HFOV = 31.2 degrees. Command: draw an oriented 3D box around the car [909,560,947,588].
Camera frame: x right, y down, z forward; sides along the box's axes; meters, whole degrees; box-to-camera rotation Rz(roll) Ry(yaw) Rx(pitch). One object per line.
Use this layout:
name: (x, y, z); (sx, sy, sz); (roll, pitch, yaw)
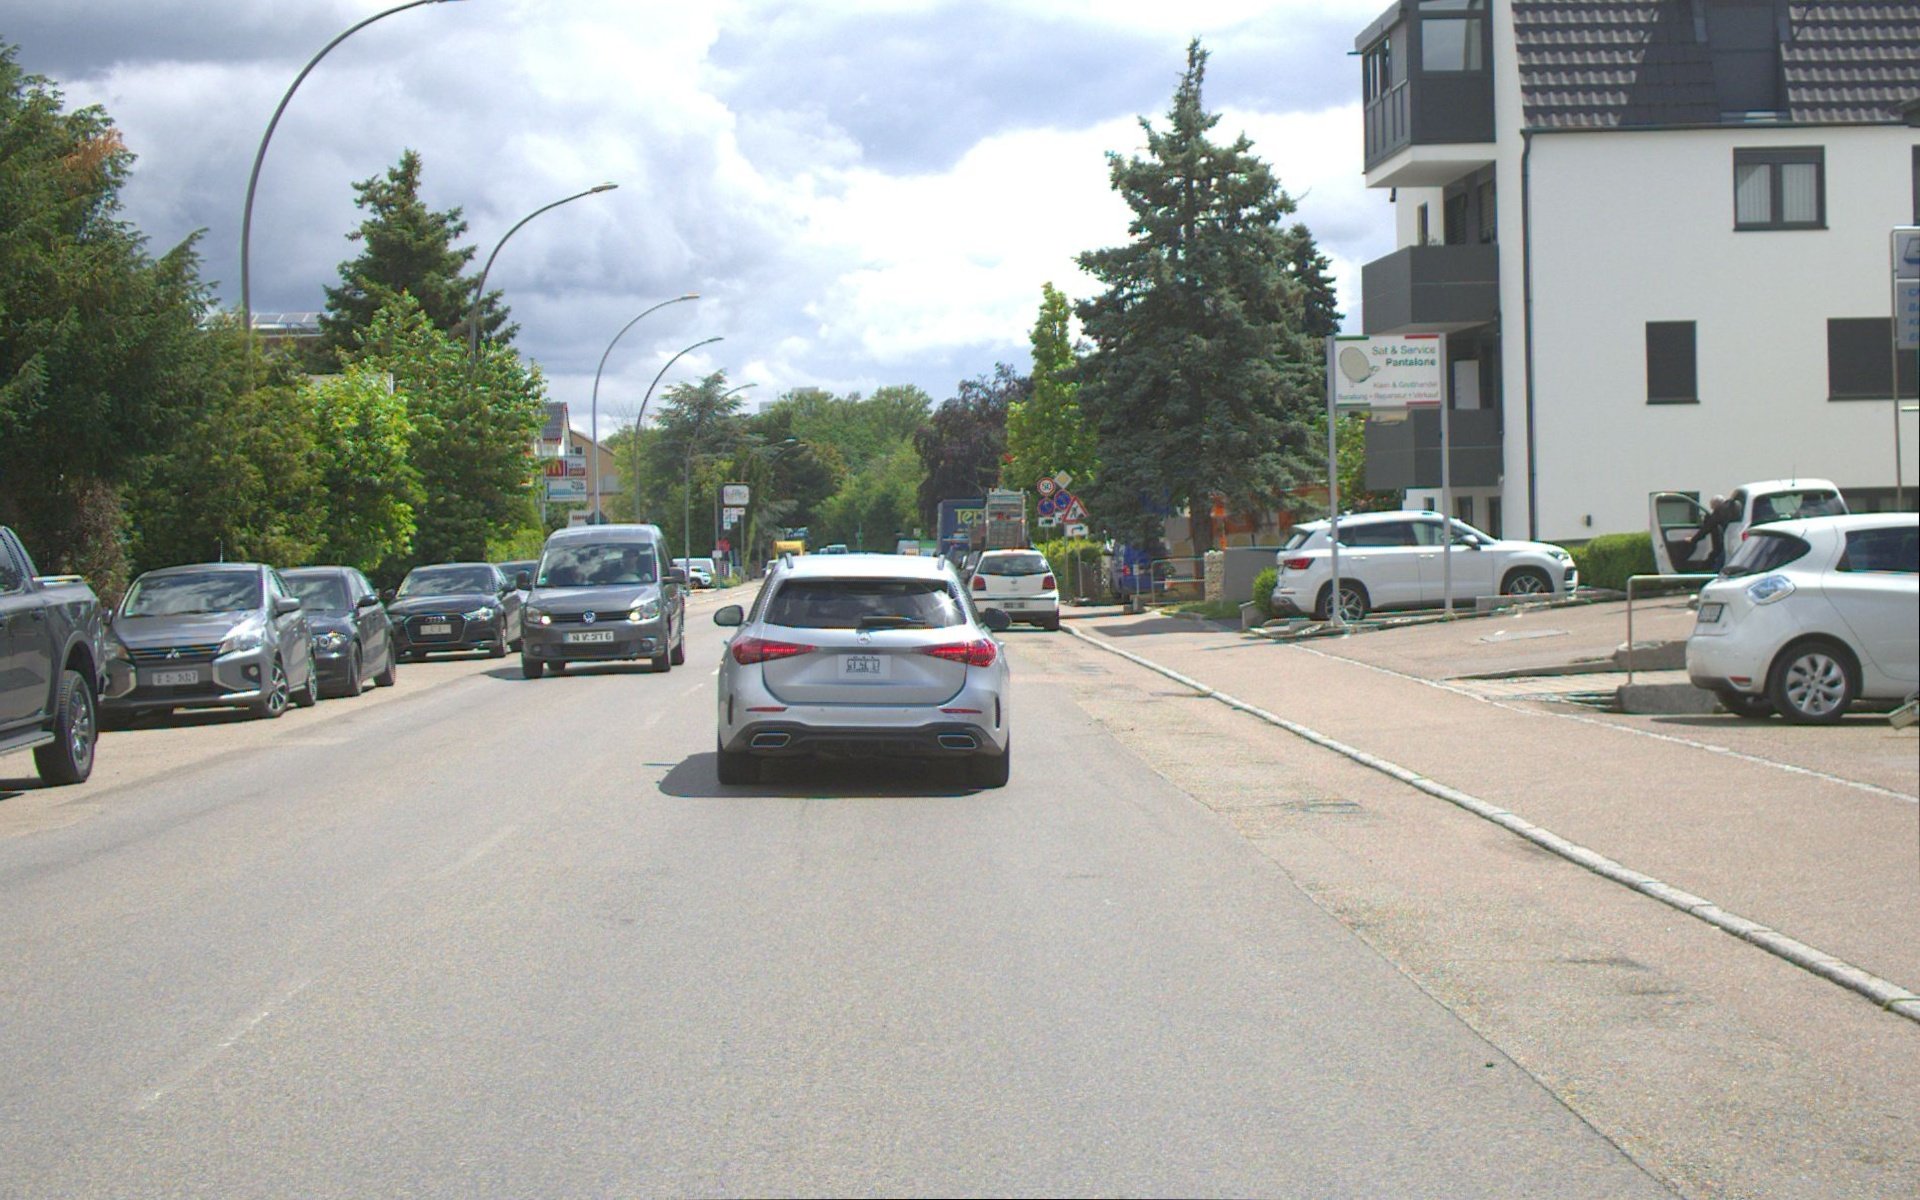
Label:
car: (-1.759, -1.421, 187.293); (1.791, 1.445, 4.364); (-2, 1, -3)

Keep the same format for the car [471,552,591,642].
car: (-7.532, -0.083, 60.655); (1.719, 1.427, 4.200); (-3, 1, -3)

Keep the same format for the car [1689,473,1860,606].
car: (10.575, -0.820, 44.839); (1.632, 1.513, 3.664); (-4, 2, 6)

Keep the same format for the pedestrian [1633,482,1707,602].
pedestrian: (9.362, -0.761, 45.341); (0.764, 1.523, 0.781); (-4, 0, 4)

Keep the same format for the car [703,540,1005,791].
car: (-0.733, 0.352, 22.456); (1.784, 1.479, 4.317); (0, 1, -3)

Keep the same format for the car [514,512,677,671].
car: (-4.450, -0.139, 42.455); (1.662, 1.789, 4.339); (-2, 1, -2)

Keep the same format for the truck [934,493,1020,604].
truck: (0.454, -1.496, 99.503); (2.320, 3.086, 6.043); (1, 1, -1)

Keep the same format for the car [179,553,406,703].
car: (-7.241, 0.258, 37.669); (1.662, 1.430, 4.339); (-3, 1, -1)

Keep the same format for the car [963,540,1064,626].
car: (0.983, -0.334, 63.139); (1.719, 1.427, 3.983); (-3, 1, 1)

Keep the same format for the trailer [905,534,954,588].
trailer: (-1.376, -1.702, 151.232); (1.941, 2.286, 4.446); (-2, 1, -2)

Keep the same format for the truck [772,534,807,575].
truck: (-12.083, -3.265, 244.044); (2.075, 2.804, 7.078); (-2, 1, 0)

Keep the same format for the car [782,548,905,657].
car: (-1.755, 0.005, 51.520); (1.755, 1.553, 4.000); (-1, 1, -2)

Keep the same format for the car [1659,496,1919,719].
car: (7.406, 0.047, 25.827); (3.899, 1.603, 1.749); (0, 1, -2)

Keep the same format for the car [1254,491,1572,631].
car: (6.500, -0.572, 49.639); (4.191, 1.648, 1.867); (-5, 1, -1)

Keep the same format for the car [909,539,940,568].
car: (-2.526, -3.304, 246.063); (2.144, 1.977, 5.261); (-2, 1, -1)

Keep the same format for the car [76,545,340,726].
car: (-7.131, 0.291, 32.969); (1.662, 1.506, 3.945); (-4, 1, -1)

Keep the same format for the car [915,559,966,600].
car: (-0.769, -0.837, 139.801); (1.941, 1.566, 4.445); (-2, 1, 1)

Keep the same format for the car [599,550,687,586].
car: (-17.252, -1.737, 187.344); (4.626, 1.627, 2.198); (-4, 1, -4)

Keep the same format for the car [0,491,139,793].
car: (-6.787, 0.305, 21.672); (1.910, 1.815, 5.430); (-5, 1, -1)

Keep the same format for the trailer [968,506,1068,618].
trailer: (1.138, -0.767, 68.975); (1.772, 2.137, 4.114); (-2, 1, -2)

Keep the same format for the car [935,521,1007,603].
car: (0.271, -1.046, 93.919); (1.873, 2.161, 4.464); (1, 1, -1)

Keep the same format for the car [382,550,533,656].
car: (-7.419, 0.010, 51.070); (1.662, 1.409, 4.339); (-2, 1, -1)

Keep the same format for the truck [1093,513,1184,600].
truck: (4.768, -1.190, 92.425); (1.829, 2.074, 5.386); (-4, 2, -2)

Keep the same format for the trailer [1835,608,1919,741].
trailer: (8.018, 0.430, 23.094); (3.816, 0.805, 1.657); (-2, 1, -2)
